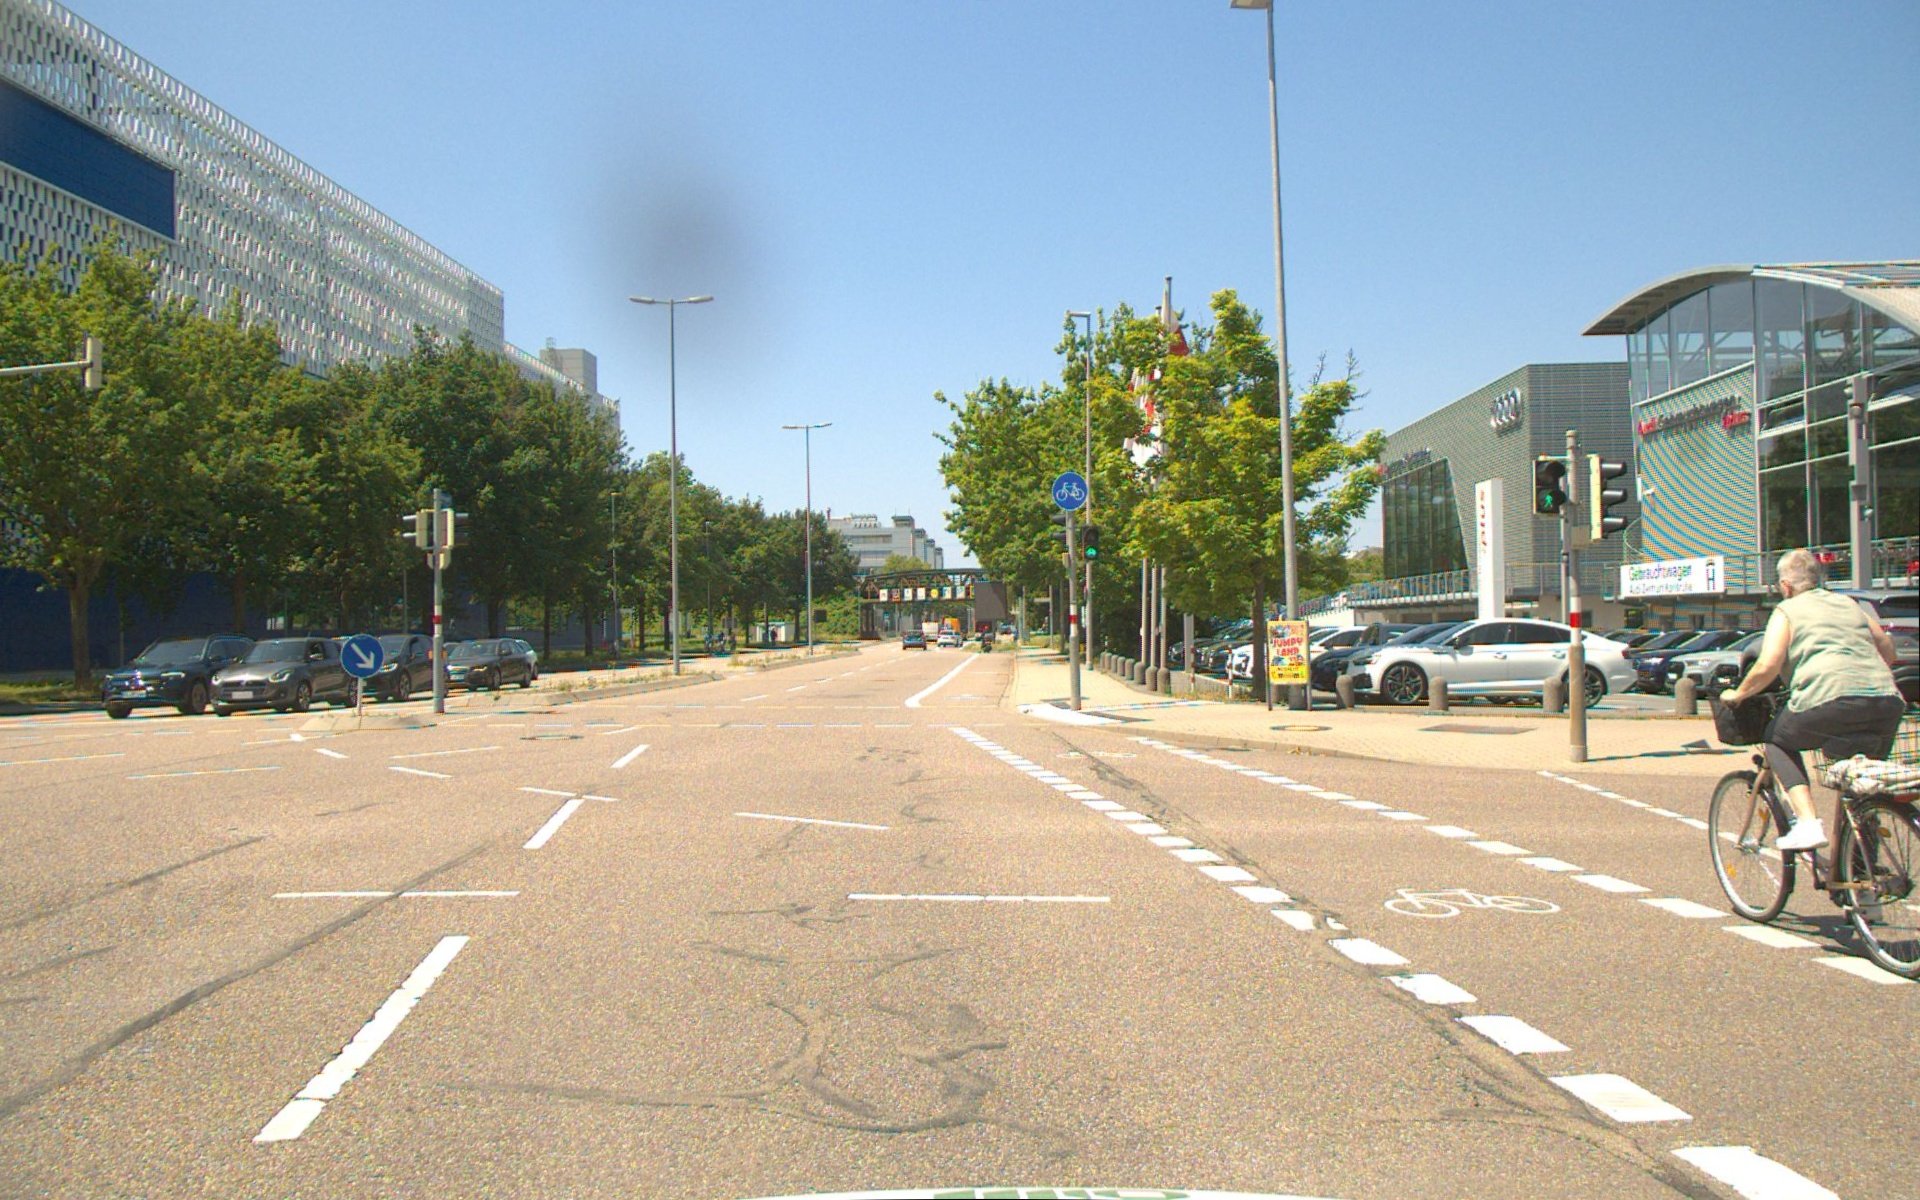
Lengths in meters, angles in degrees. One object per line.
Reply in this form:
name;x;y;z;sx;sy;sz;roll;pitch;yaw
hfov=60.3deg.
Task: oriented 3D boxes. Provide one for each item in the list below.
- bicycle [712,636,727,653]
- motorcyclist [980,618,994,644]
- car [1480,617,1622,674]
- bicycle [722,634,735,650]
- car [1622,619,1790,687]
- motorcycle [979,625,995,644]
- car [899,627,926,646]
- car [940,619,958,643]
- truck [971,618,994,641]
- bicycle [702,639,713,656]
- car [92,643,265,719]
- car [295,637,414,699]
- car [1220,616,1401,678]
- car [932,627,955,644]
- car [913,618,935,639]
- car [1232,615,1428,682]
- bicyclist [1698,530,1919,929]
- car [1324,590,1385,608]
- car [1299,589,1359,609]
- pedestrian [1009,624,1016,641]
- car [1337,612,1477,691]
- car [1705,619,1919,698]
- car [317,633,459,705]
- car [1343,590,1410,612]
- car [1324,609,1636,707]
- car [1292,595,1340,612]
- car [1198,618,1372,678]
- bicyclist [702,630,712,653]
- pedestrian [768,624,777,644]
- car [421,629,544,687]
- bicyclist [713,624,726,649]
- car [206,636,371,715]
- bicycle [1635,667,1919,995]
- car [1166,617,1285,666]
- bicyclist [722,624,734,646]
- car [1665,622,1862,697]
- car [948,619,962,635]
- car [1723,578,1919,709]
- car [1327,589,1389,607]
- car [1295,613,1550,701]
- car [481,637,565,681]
bicycle;-16.829;3.142;115.836;0.724;1.145;2.434;-1;-1;-1
motorcyclist;1.632;1.870;99.624;0.706;1.556;0.869;1;-1;-8
car;18.895;1.441;53.010;3.903;1.683;1.851;1;-1;2
bicycle;-17.415;3.133;124.419;0.616;1.179;2.117;-3;-1;1
car;19.119;1.347;42.475;3.572;1.608;1.642;1;-1;2
motorcycle;1.639;2.100;99.599;0.703;1.124;1.827;1;-1;-8
car;-3.551;2.738;124.325;1.861;1.400;4.231;-1;-1;1
car;-1.396;3.785;204.841;2.030;2.904;6.765;-1;-1;1
truck;2.537;3.225;183.728;2.407;2.453;7.135;1;-1;2
bicycle;-17.900;3.338;117.165;0.625;1.153;1.969;-1;-1;-4
car;-16.403;1.657;34.939;1.626;1.449;4.039;-2;-1;1
car;-16.370;1.817;44.911;1.691;1.571;3.916;-2;-1;1
car;8.447;1.119;40.123;4.014;1.372;1.869;1;-1;2
car;-1.436;3.049;143.046;1.884;1.445;4.000;0;-1;1
car;-3.397;2.698;157.046;1.952;2.049;4.000;0;-1;1
car;8.284;1.078;37.263;4.011;1.388;1.874;1;-1;2
bicyclist;3.746;0.539;7.234;0.616;1.634;0.824;1;-1;-6
car;26.567;-0.046;111.367;3.650;1.150;1.683;1;-1;-3
car;27.117;-0.056;121.602;3.907;1.335;1.796;1;-1;-3
pedestrian;4.442;2.752;140.341;0.611;1.399;0.564;-1;-1;0
car;8.953;1.009;33.503;1.824;1.444;4.664;1;-1;4
car;19.021;1.284;36.950;3.903;1.626;1.851;1;-1;2
car;-13.463;1.593;39.208;1.691;1.531;4.244;-3;-1;2
car;27.413;0.055;108.965;3.907;1.335;1.796;1;-1;-3
car;8.315;0.909;26.767;4.495;1.415;1.870;1;-1;5
car;28.123;0.293;130.564;3.451;1.261;1.610;1;-1;0
car;8.346;1.231;42.724;4.138;1.415;1.869;1;-1;2
bicyclist;-17.906;2.937;117.073;0.624;1.610;0.884;-1;-1;-4
pedestrian;-18.370;3.347;161.792;0.728;1.917;0.577;-1;-1;2
car;-13.216;1.582;46.064;1.690;1.471;4.722;-3;-1;4
bicyclist;-16.836;2.576;115.854;0.730;1.715;0.952;-1;-1;-1
car;-13.352;1.472;33.099;1.610;1.413;3.716;-3;-1;2
bicycle;3.738;0.917;7.261;0.616;1.153;1.892;-1;0;-6
car;8.576;1.337;53.619;3.605;1.479;1.834;1;-1;2
bicyclist;-17.439;2.637;124.368;0.621;1.657;1.044;-3;-1;1
car;19.143;1.396;39.521;3.903;1.650;1.657;1;-1;2
car;-0.685;3.500;217.410;1.715;2.049;3.871;-1;-1;1
car;12.294;0.591;22.533;1.829;1.586;4.504;-2;-2;3
car;27.472;-0.122;114.326;3.860;1.232;1.716;0;-1;-3
car;8.139;0.986;29.380;4.011;1.415;1.869;1;-1;2
car;-15.923;2.140;60.465;1.691;1.471;4.452;-3;-1;2
